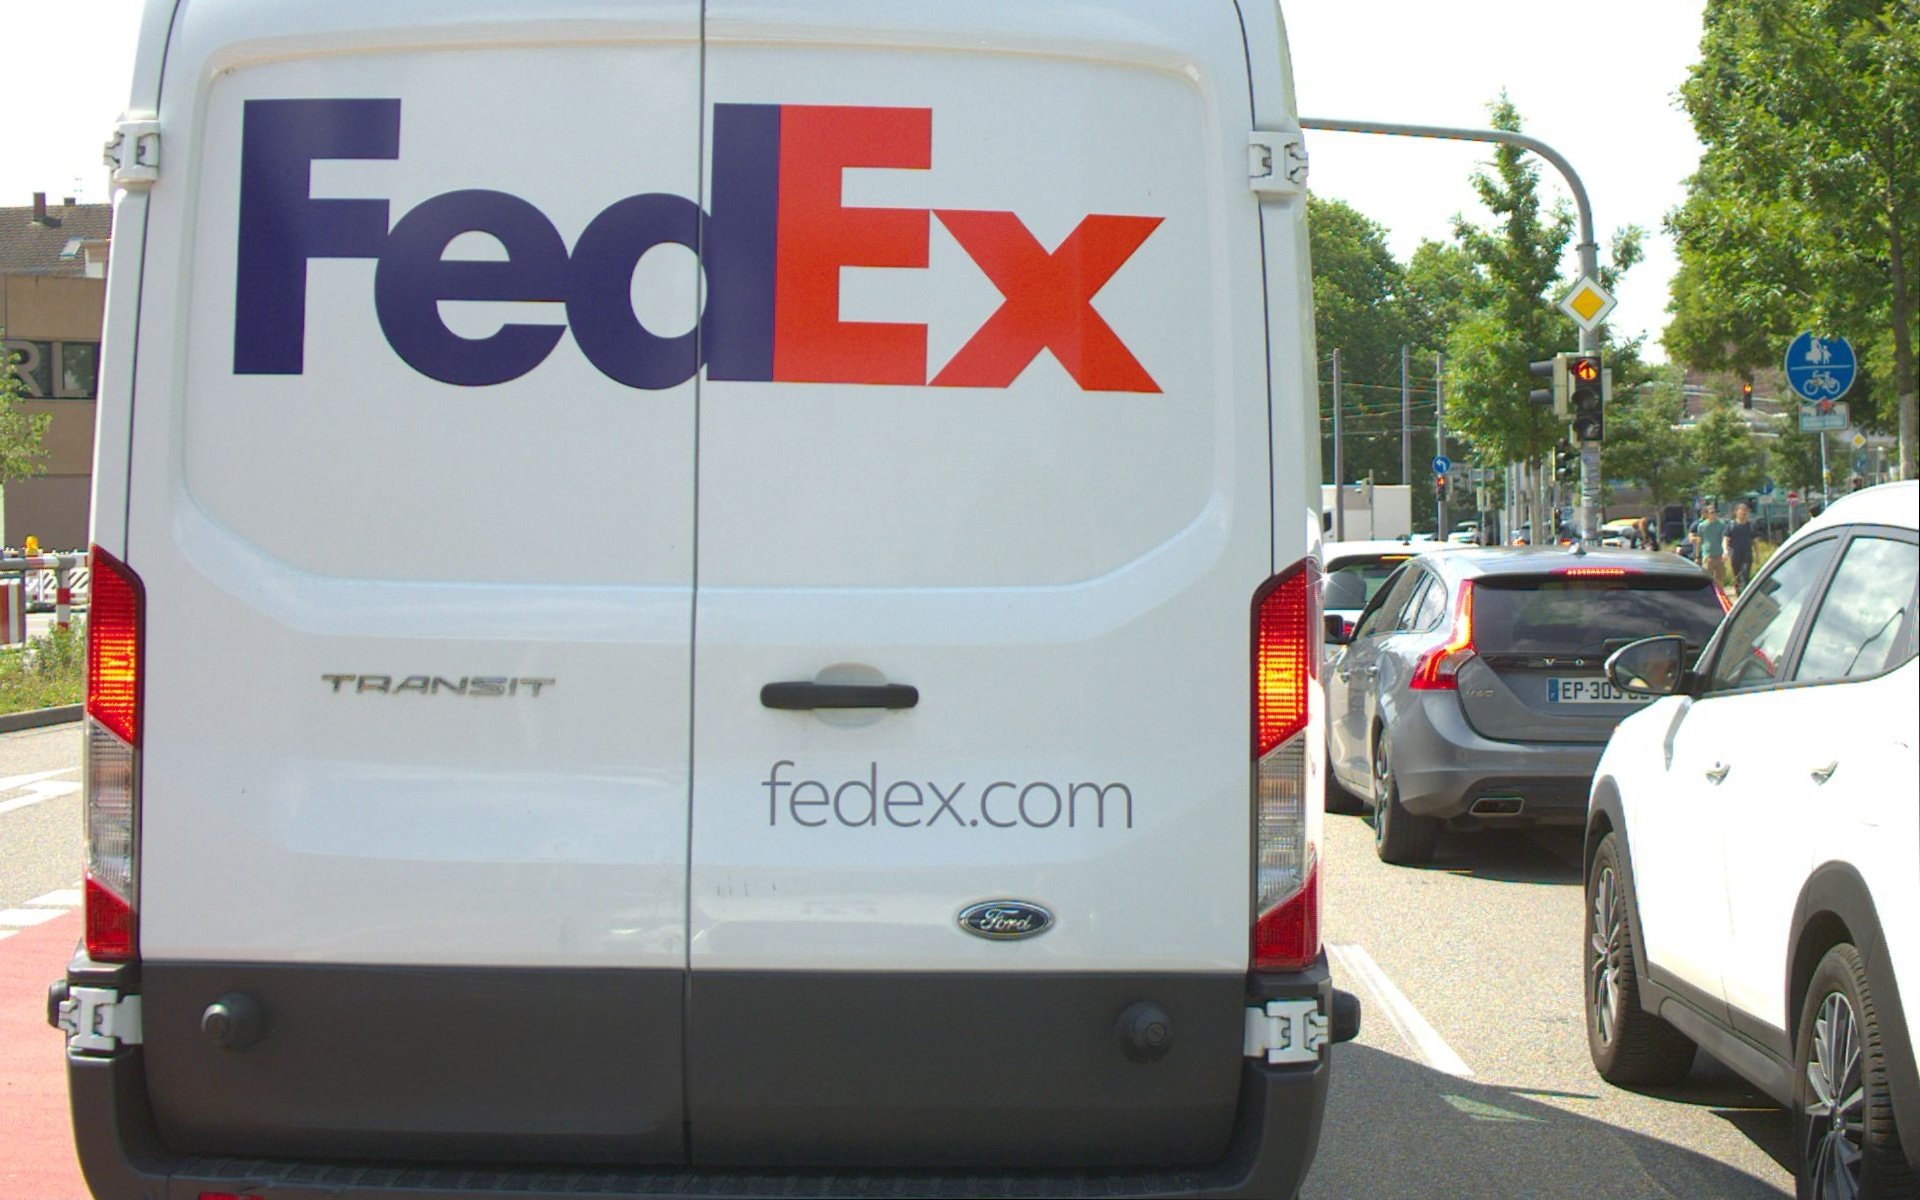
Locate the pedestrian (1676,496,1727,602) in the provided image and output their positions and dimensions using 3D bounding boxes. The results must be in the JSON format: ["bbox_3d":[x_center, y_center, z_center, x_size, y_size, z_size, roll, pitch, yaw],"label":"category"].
[{"bbox_3d":[13.048,-0.903,60.514,0.759,1.843,0.816,-1,1,3],"label":"pedestrian"}]

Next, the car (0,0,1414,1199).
[{"bbox_3d":[-0.351,0.071,7.181,2.072,2.572,4.428,0,1,1],"label":"car"}]

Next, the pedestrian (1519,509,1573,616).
[{"bbox_3d":[10.195,-0.664,59.831,0.813,1.843,0.761,-1,1,3],"label":"pedestrian"}]

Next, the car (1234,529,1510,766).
[{"bbox_3d":[2.724,0.266,23.313,1.499,1.459,3.474,0,1,1],"label":"car"}]

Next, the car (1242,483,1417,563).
[{"bbox_3d":[13.316,-2.733,123.544,2.494,2.708,7.067,1,1,43],"label":"car"}]

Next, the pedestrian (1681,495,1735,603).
[{"bbox_3d":[12.945,-0.890,59.496,0.759,1.843,0.816,-1,1,1],"label":"pedestrian"}]

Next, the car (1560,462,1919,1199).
[{"bbox_3d":[2.601,0.541,7.867,1.814,1.673,3.974,0,1,1],"label":"car"}]

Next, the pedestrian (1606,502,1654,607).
[{"bbox_3d":[11.940,-0.816,61.270,0.759,1.843,0.816,-1,1,6],"label":"pedestrian"}]

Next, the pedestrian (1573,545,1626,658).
[{"bbox_3d":[10.549,0.014,56.704,0.759,1.843,0.815,0,1,18],"label":"pedestrian"}]

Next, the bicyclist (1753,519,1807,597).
[{"bbox_3d":[23.196,-1.193,97.225,1.433,2.164,1.338,0,1,15],"label":"bicyclist"}]

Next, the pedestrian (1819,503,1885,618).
[{"bbox_3d":[14.565,-0.649,56.130,0.758,1.843,0.816,-1,1,-10],"label":"pedestrian"}]

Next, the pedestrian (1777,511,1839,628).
[{"bbox_3d":[13.563,-0.497,54.989,0.758,1.843,0.816,-1,1,-2],"label":"pedestrian"}]

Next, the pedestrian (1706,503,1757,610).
[{"bbox_3d":[12.976,-0.735,57.808,0.759,1.783,0.816,0,1,8],"label":"pedestrian"}]

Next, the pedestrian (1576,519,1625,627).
[{"bbox_3d":[10.999,-0.467,59.049,0.759,1.843,0.816,0,1,15],"label":"pedestrian"}]

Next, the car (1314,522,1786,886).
[{"bbox_3d":[2.728,0.406,16.640,1.691,1.543,3.720,0,1,1],"label":"car"}]

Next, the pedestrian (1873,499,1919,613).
[{"bbox_3d":[15.491,-0.730,56.353,0.758,1.843,0.816,-1,1,-8],"label":"pedestrian"}]

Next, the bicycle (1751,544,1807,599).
[{"bbox_3d":[23.156,-0.823,97.115,1.426,1.459,4.308,0,2,15],"label":"bicycle"}]
